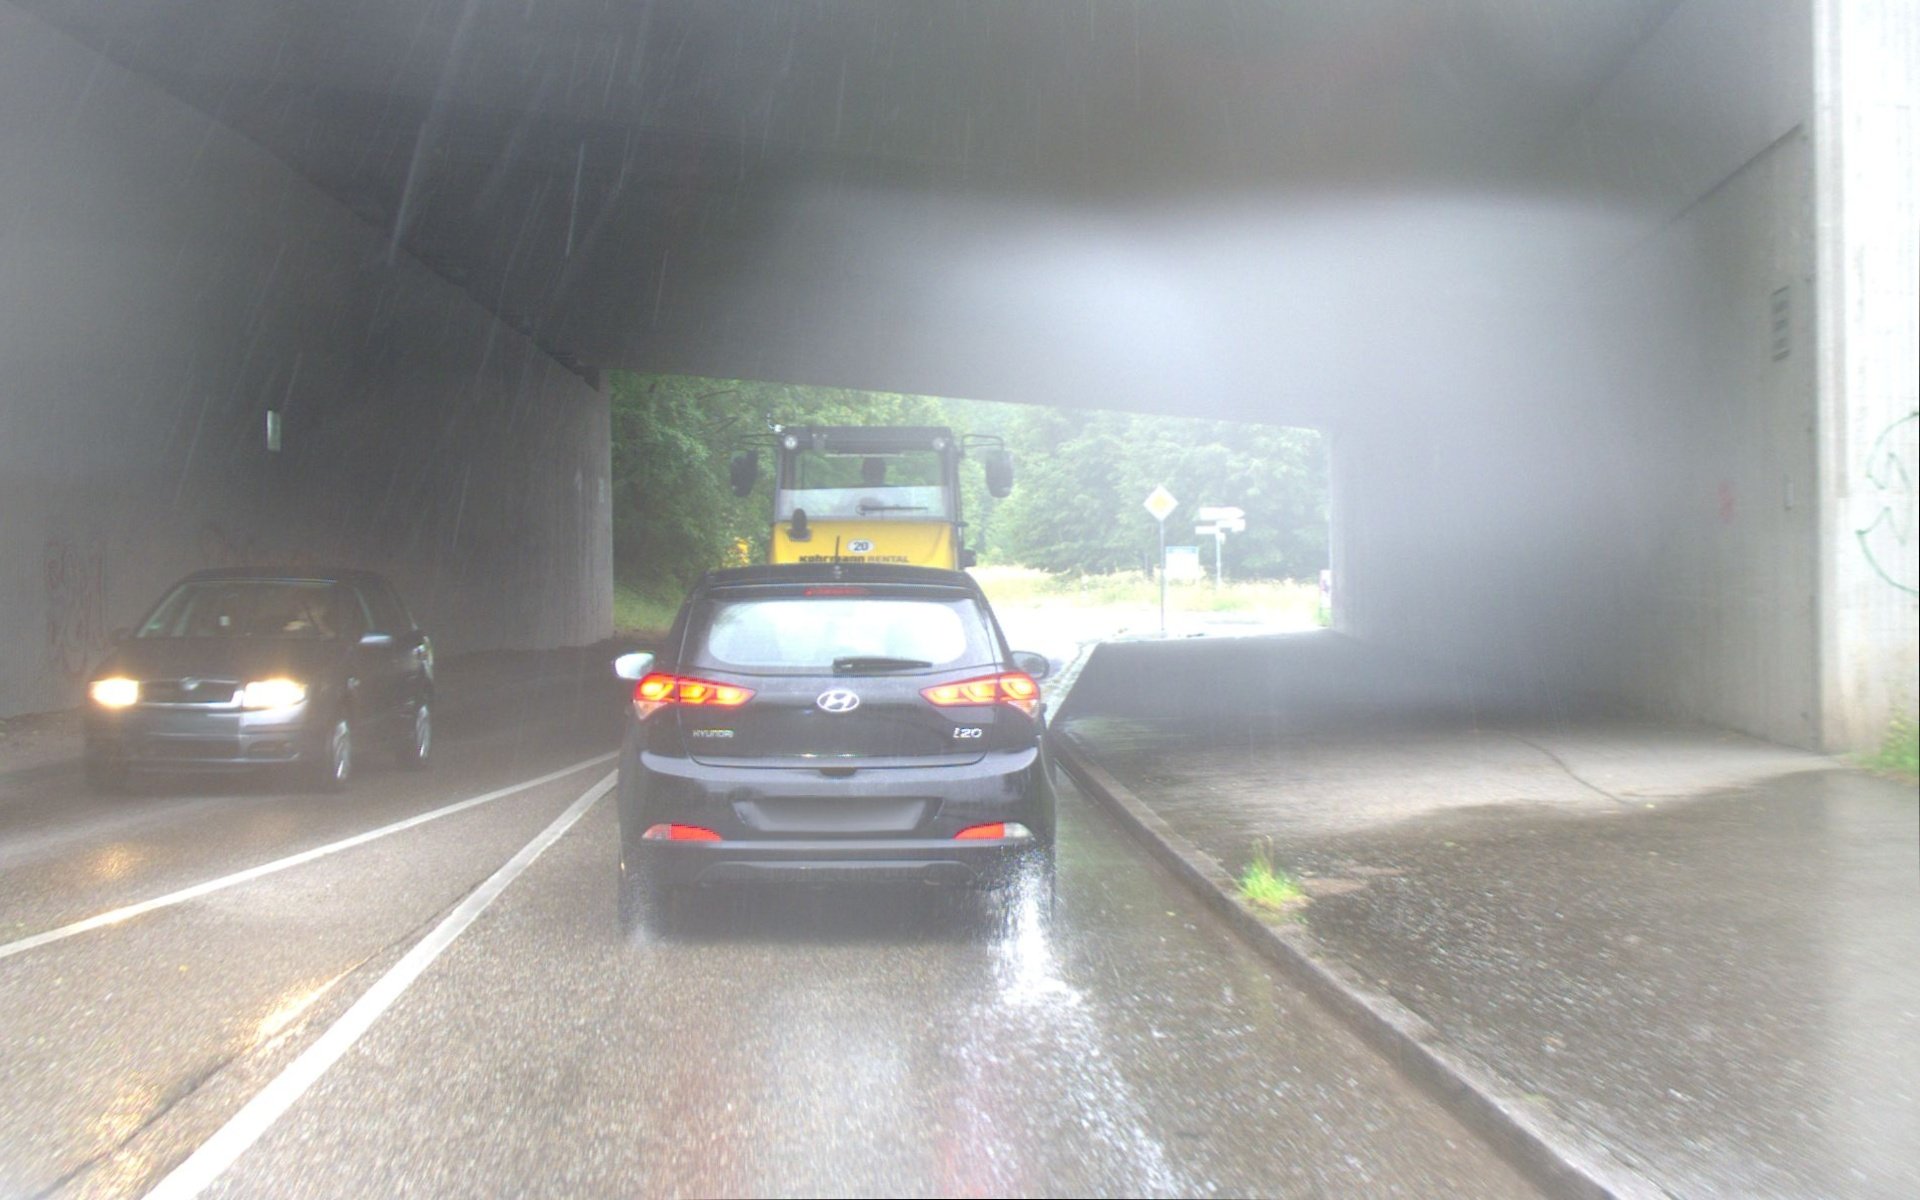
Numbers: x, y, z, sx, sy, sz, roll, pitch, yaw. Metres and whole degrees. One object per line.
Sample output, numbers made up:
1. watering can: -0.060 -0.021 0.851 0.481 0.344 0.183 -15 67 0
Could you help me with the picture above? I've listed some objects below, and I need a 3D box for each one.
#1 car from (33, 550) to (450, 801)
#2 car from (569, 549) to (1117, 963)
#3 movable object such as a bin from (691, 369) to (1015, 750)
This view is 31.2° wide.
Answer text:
1. car: -4.593 0.427 22.554 1.690 1.482 4.072 0 1 3
2. car: -0.447 0.559 14.723 1.993 1.482 4.000 1 1 0
3. movable object such as a bin: -0.790 -0.320 27.850 2.245 2.660 6.627 1 0 0
